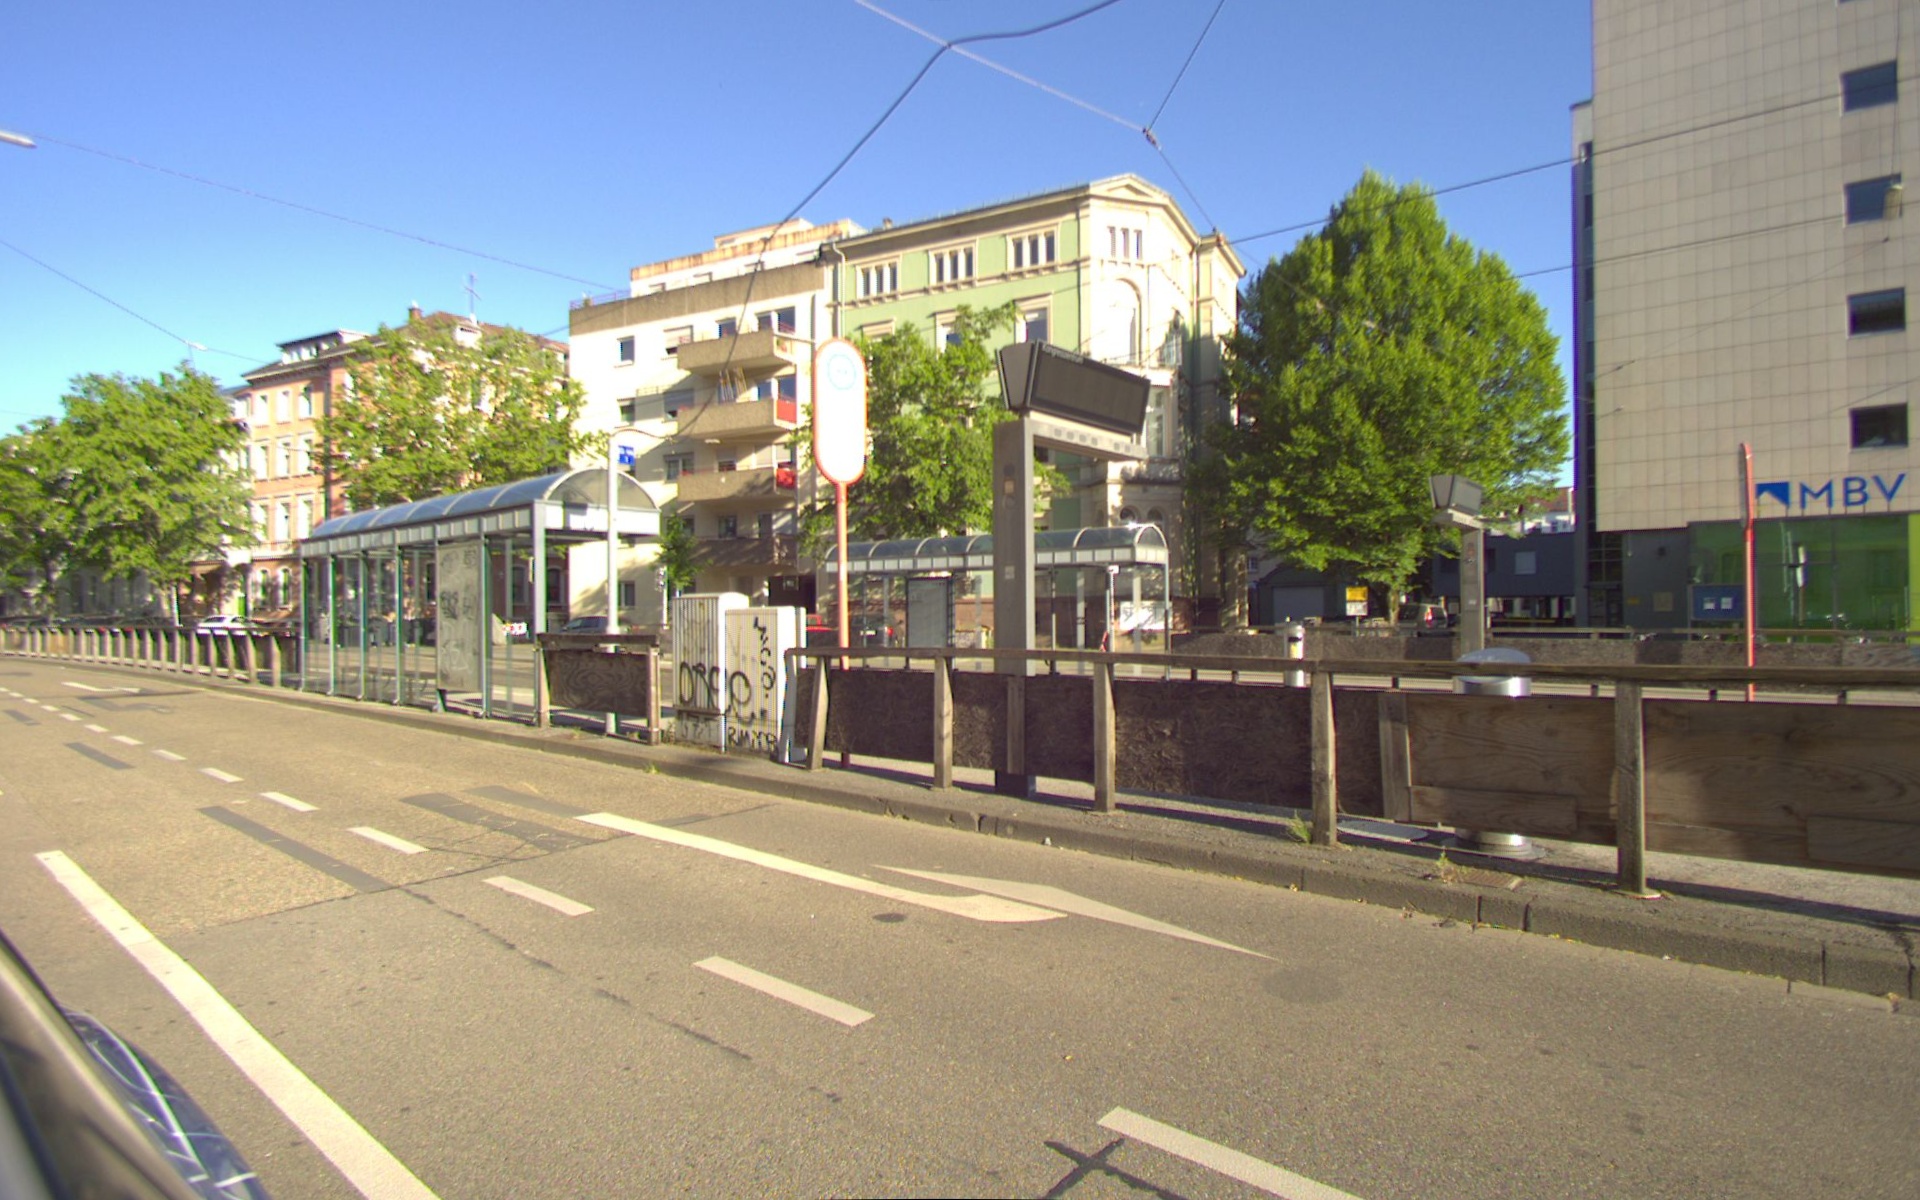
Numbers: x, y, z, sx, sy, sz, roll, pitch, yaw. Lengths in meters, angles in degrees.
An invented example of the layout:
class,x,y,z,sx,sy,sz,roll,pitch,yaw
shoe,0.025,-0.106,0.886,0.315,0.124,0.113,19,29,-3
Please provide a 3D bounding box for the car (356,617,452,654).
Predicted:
class,x,y,z,sx,sy,sz,roll,pitch,yaw
car,-23.954,1.511,43.576,3.987,1.541,1.978,-1,-2,32

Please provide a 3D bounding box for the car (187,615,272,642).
class,x,y,z,sx,sy,sz,roll,pitch,yaw
car,-39.109,1.494,54.278,1.565,1.360,3.631,0,-1,11

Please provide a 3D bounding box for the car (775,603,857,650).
class,x,y,z,sx,sy,sz,roll,pitch,yaw
car,-6.469,1.184,45.894,1.791,2.029,3.963,-1,-1,27

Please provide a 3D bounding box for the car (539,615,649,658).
class,x,y,z,sx,sy,sz,roll,pitch,yaw
car,-14.014,1.380,38.703,3.987,1.541,1.978,-1,-2,32
